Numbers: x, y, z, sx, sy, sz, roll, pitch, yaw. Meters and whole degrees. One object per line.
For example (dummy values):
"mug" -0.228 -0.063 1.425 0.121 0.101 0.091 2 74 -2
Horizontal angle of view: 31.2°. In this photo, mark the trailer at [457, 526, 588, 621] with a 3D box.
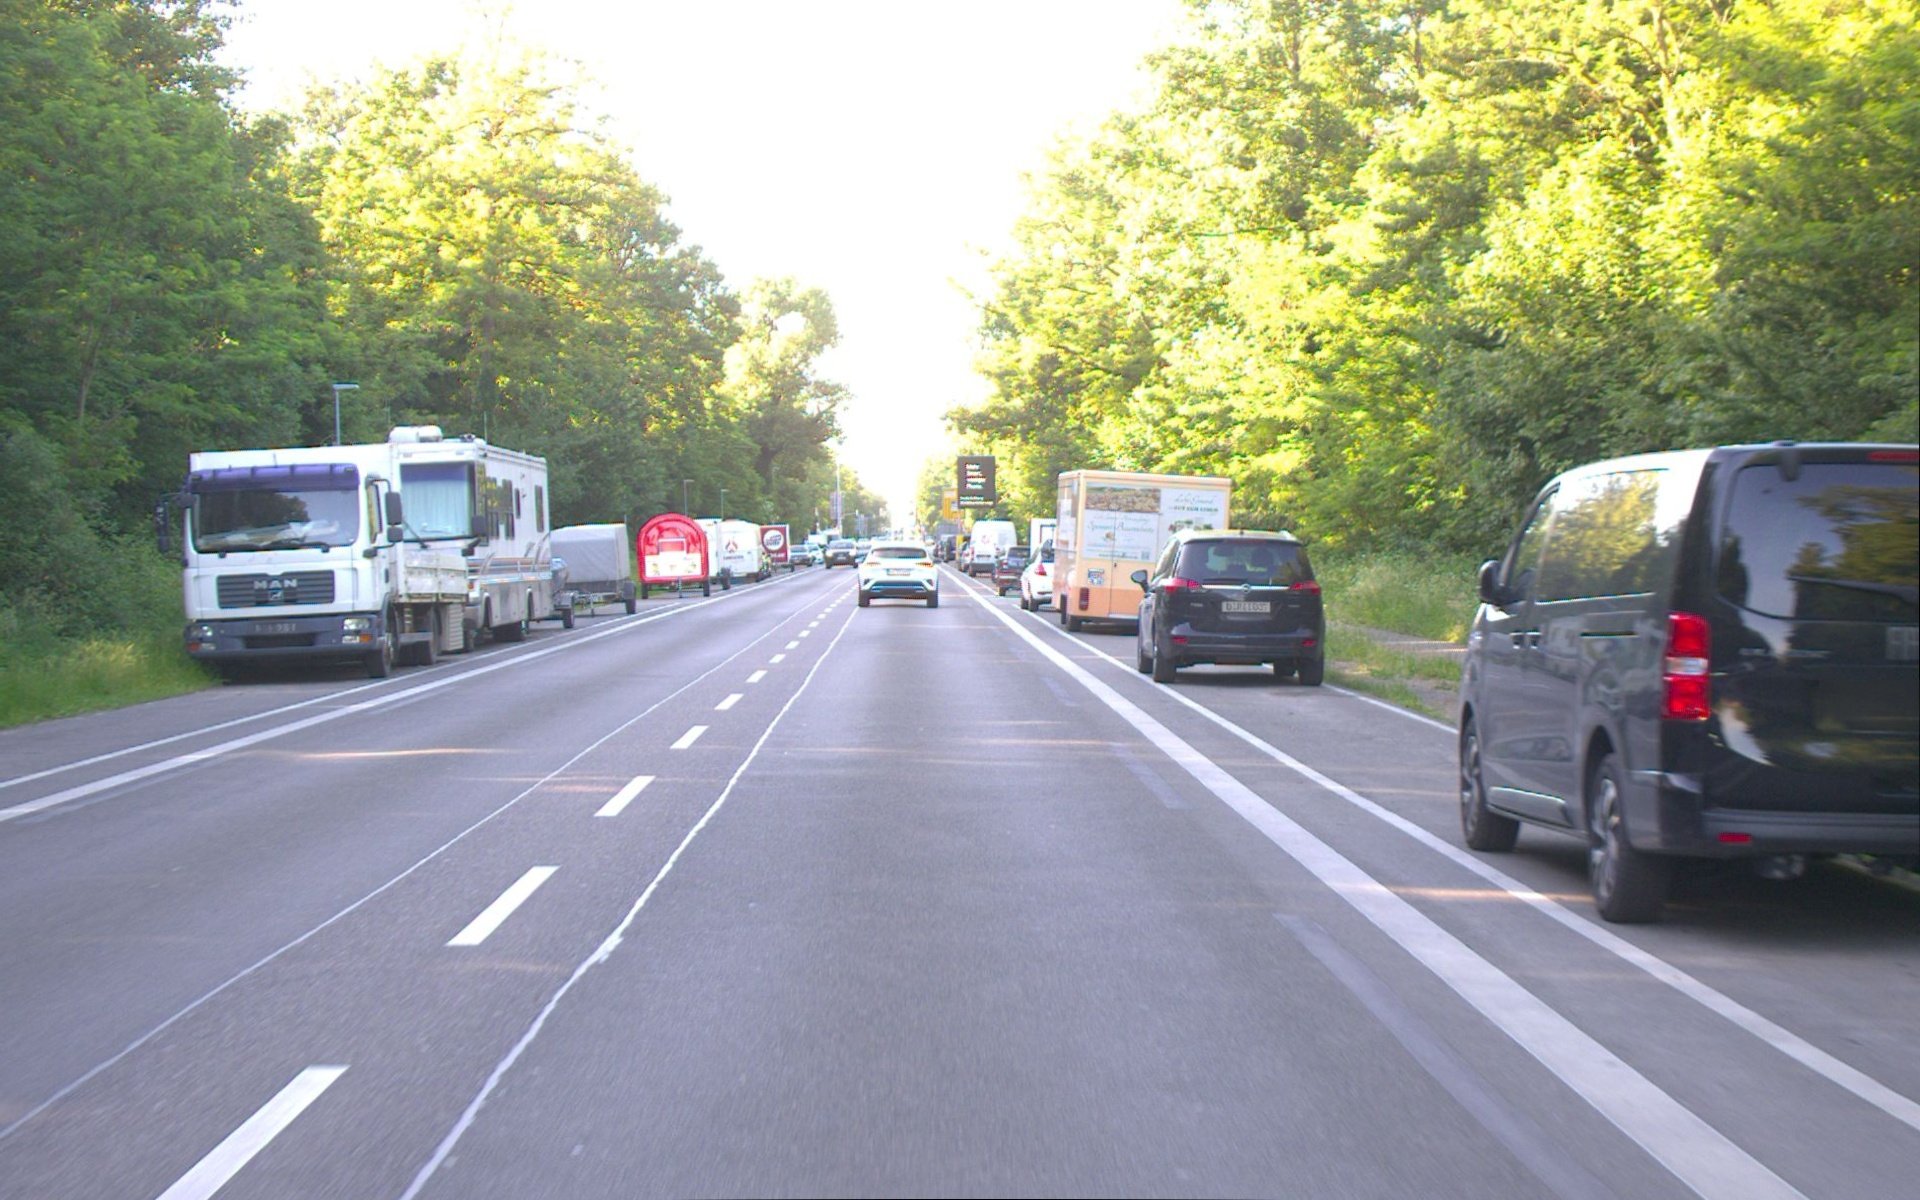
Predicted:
"trailer" -8.276 -0.537 65.374 1.993 1.744 4.328 0 1 -1

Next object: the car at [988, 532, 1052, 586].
"car" 1.659 -1.155 95.799 1.656 1.473 3.754 0 1 -1

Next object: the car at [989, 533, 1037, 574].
"car" 1.945 -1.724 126.709 1.656 1.473 3.754 0 1 -1

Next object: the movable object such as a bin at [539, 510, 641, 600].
"movable object such as a bin" -8.446 -1.052 78.704 1.953 2.007 4.000 0 1 -1

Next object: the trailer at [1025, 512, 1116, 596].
"trailer" 2.627 -1.110 82.567 1.993 1.963 4.000 0 1 -1

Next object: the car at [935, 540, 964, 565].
"car" -0.612 -2.821 203.733 1.656 1.473 3.754 0 1 -1

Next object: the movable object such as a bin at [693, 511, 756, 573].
"movable object such as a bin" -9.582 -2.379 139.954 2.322 2.493 4.000 0 1 -1

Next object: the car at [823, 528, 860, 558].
"car" -6.833 -3.299 198.743 1.993 1.672 4.000 -2 1 -1

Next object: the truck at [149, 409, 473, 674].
"truck" -8.116 -0.762 43.994 2.707 3.083 7.990 0 1 -1

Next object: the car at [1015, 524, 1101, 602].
"car" 2.135 -0.837 75.885 1.732 1.678 4.000 0 1 -1

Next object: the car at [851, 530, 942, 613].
"car" -1.438 -0.681 79.147 2.028 1.834 4.029 0 1 0

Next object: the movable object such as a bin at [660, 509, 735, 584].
"movable object such as a bin" -8.939 -1.831 117.396 2.322 2.493 4.000 0 1 -1

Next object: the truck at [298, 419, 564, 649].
"truck" -8.306 -1.067 55.353 2.707 3.336 10.924 0 1 -1

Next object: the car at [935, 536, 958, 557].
"car" -0.987 -3.851 248.343 1.656 1.473 3.754 0 1 -1

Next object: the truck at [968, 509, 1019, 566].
"truck" 1.466 -2.751 150.743 2.096 2.444 5.680 0 1 -1

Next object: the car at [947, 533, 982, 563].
"car" 0.208 -2.589 171.264 1.656 1.473 3.754 0 1 -1

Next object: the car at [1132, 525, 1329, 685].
"car" 2.937 0.011 38.051 1.841 1.656 4.000 0 1 0

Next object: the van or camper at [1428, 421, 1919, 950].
"van or camper" 3.471 0.271 15.205 1.993 1.925 5.199 1 1 -1

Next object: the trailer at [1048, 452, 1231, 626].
"trailer" 3.043 -1.069 59.881 2.757 2.860 6.589 0 1 -1

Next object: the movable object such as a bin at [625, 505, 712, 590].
"movable object such as a bin" -8.716 -1.593 103.049 2.322 2.493 4.000 0 1 -1
